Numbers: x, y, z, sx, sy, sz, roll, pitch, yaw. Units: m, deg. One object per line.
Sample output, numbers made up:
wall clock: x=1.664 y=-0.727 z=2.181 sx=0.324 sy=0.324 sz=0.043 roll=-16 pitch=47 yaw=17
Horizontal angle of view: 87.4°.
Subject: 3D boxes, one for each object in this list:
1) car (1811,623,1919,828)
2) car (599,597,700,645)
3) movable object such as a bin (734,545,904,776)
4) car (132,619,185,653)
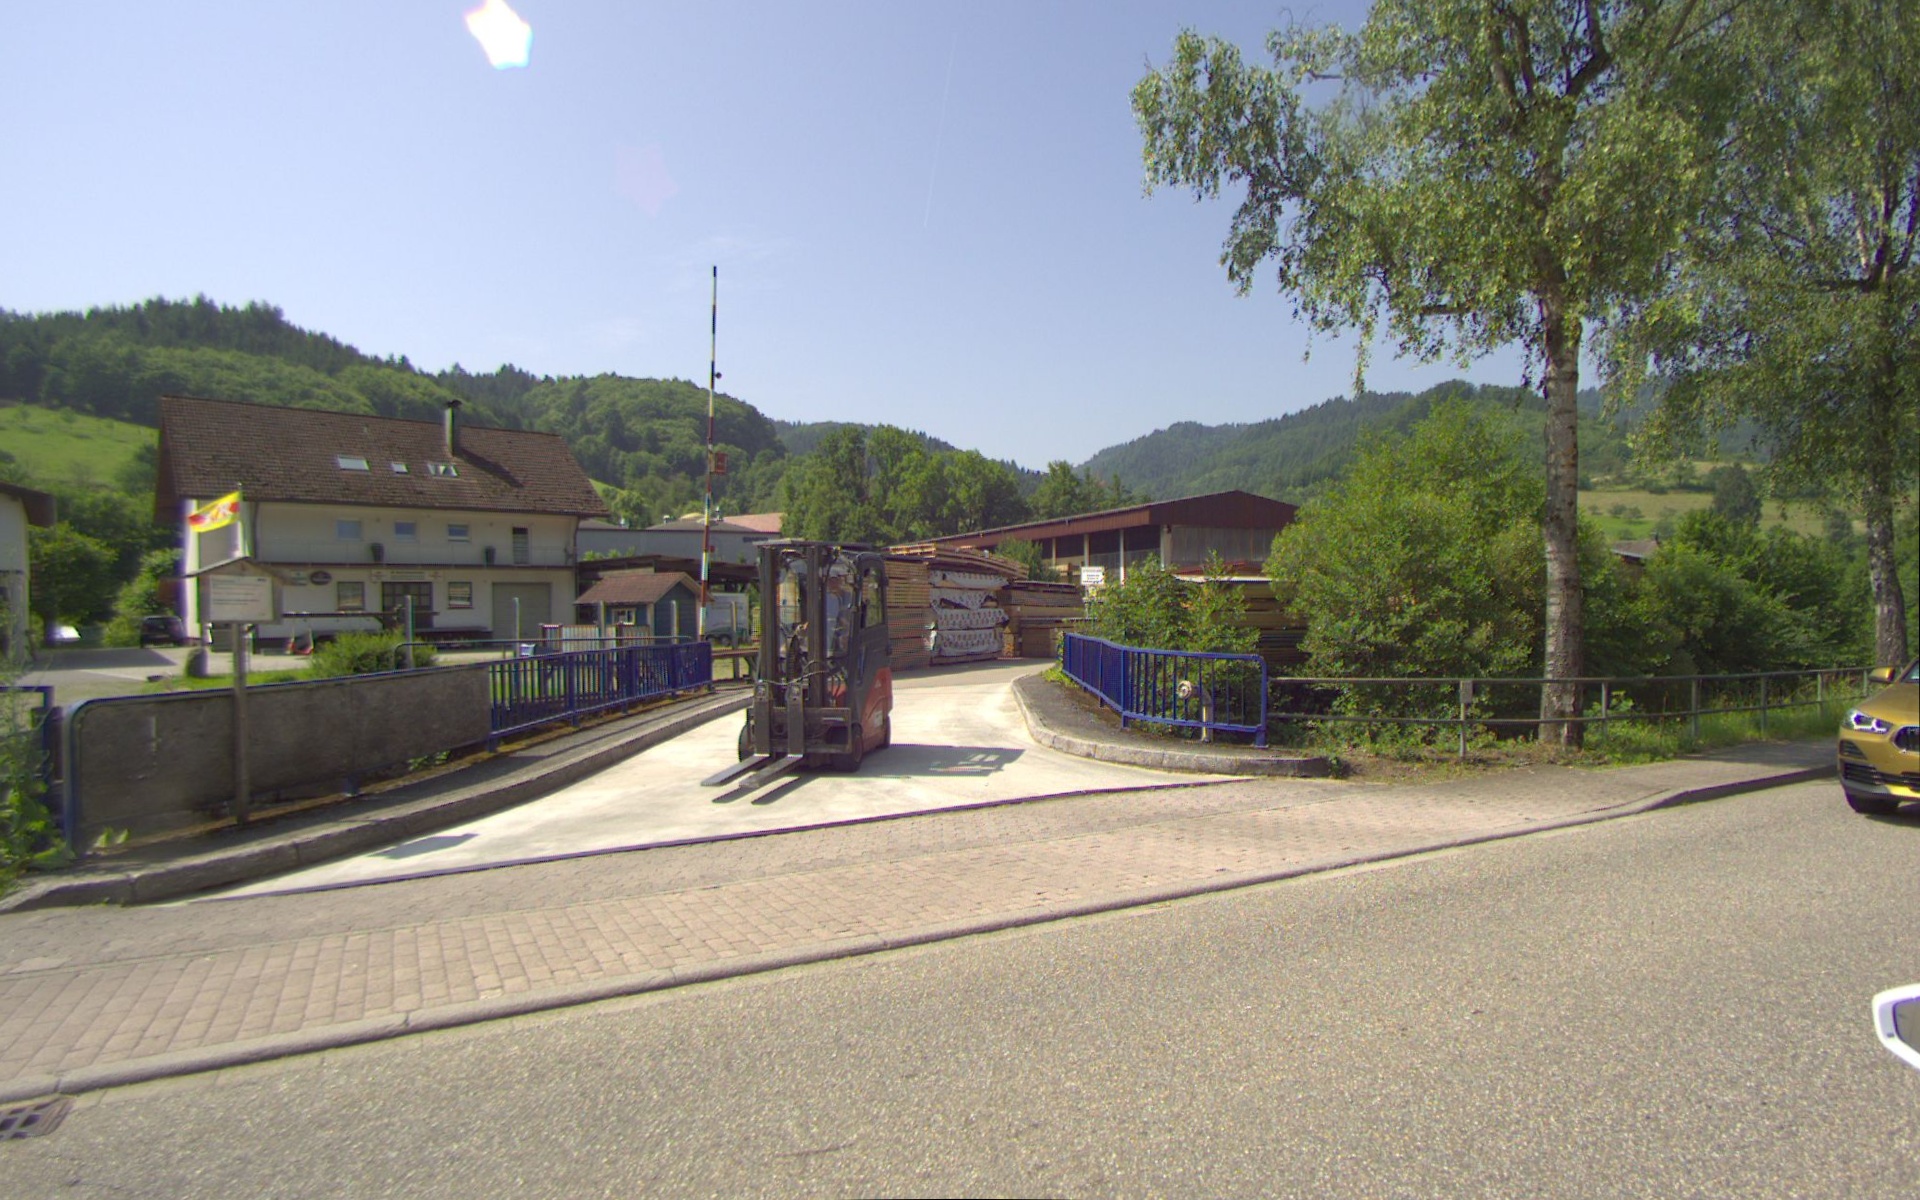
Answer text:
car: x=8.987 y=0.962 z=8.345 sx=4.104 sy=1.520 sz=1.803 roll=1 pitch=-2 yaw=-33
car: x=-16.164 y=1.086 z=52.500 sx=1.972 sy=2.408 sz=4.682 roll=1 pitch=-1 yaw=43
movable object such as a bin: x=-1.360 y=0.578 z=10.283 sx=1.113 sy=2.099 sz=2.128 roll=0 pitch=-2 yaw=10
car: x=-37.537 y=1.660 z=47.029 sx=1.608 sy=1.486 sz=3.270 roll=1 pitch=-1 yaw=-44
